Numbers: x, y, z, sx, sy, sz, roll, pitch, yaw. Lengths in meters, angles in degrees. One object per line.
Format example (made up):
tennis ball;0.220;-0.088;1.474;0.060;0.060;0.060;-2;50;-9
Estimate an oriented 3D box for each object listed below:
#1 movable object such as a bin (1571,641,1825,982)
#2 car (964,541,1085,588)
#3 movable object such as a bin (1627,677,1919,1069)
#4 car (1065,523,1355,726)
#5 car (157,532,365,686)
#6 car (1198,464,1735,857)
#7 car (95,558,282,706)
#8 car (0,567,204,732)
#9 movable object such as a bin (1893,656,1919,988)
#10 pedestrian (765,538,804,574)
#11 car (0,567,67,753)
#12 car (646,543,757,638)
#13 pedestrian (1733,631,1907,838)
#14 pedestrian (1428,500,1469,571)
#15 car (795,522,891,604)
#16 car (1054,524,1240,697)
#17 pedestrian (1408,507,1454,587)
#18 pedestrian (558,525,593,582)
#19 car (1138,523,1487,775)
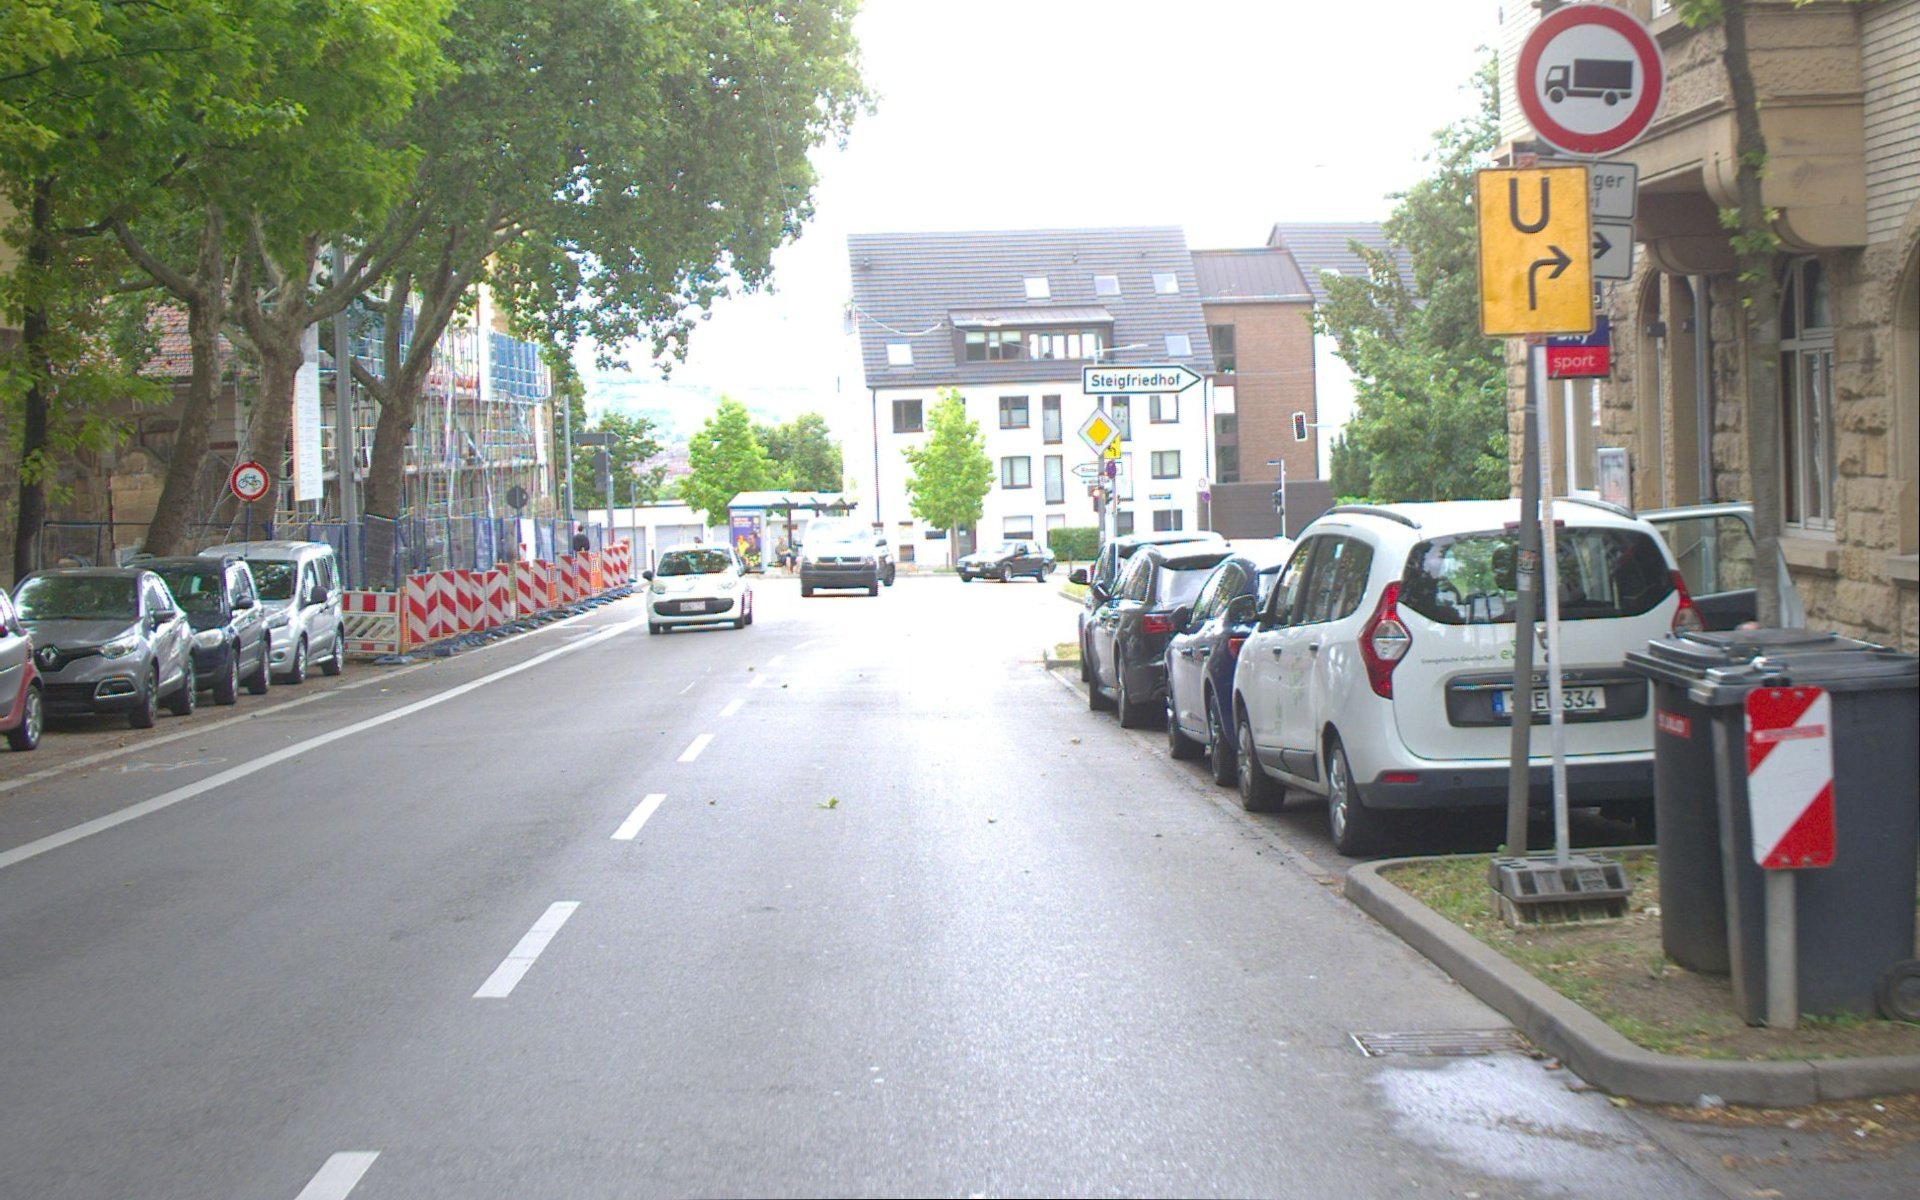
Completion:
movable object such as a bin;2.372;0.665;11.098;0.622;1.021;0.697;-1;2;-4
car;2.076;-1.151;111.066;3.685;1.421;1.705;-1;1;-7
movable object such as a bin;2.324;0.752;9.754;0.622;1.021;0.697;-2;1;-9
car;1.999;0.150;28.846;1.738;1.458;4.776;-3;1;-3
car;-9.208;0.079;45.600;1.834;1.870;4.417;-2;1;-1
car;2.430;0.232;17.639;1.678;1.657;4.545;-3;1;-4
car;-8.895;0.340;39.905;1.508;1.626;4.116;0;0;-4
car;-8.762;0.458;34.830;1.594;1.568;4.088;0;0;-4
movable object such as a bin;3.250;0.684;10.505;0.577;1.021;0.624;-1;1;-4
pedestrian;-5.793;-1.454;113.433;0.934;1.188;0.904;0;0;28
car;-8.799;0.500;29.308;1.480;1.568;2.992;0;0;2
car;-4.380;-0.182;58.695;1.583;1.459;3.652;-4;1;-1
pedestrian;4.050;0.625;16.225;0.625;0.938;0.693;0;1;-2
pedestrian;11.221;-1.488;78.970;0.579;1.579;0.575;-5;2;-29
car;-2.847;-0.898;84.517;2.205;1.924;5.240;0;0;0
car;1.859;0.069;35.070;1.565;1.604;3.654;-2;1;-1
pedestrian;10.400;-1.164;75.964;0.710;1.728;0.661;2;-1;-34
pedestrian;-11.634;-1.419;104.064;0.923;1.714;0.798;0;0;2
car;2.200;0.254;22.490;1.605;1.392;4.276;-4;1;-2
